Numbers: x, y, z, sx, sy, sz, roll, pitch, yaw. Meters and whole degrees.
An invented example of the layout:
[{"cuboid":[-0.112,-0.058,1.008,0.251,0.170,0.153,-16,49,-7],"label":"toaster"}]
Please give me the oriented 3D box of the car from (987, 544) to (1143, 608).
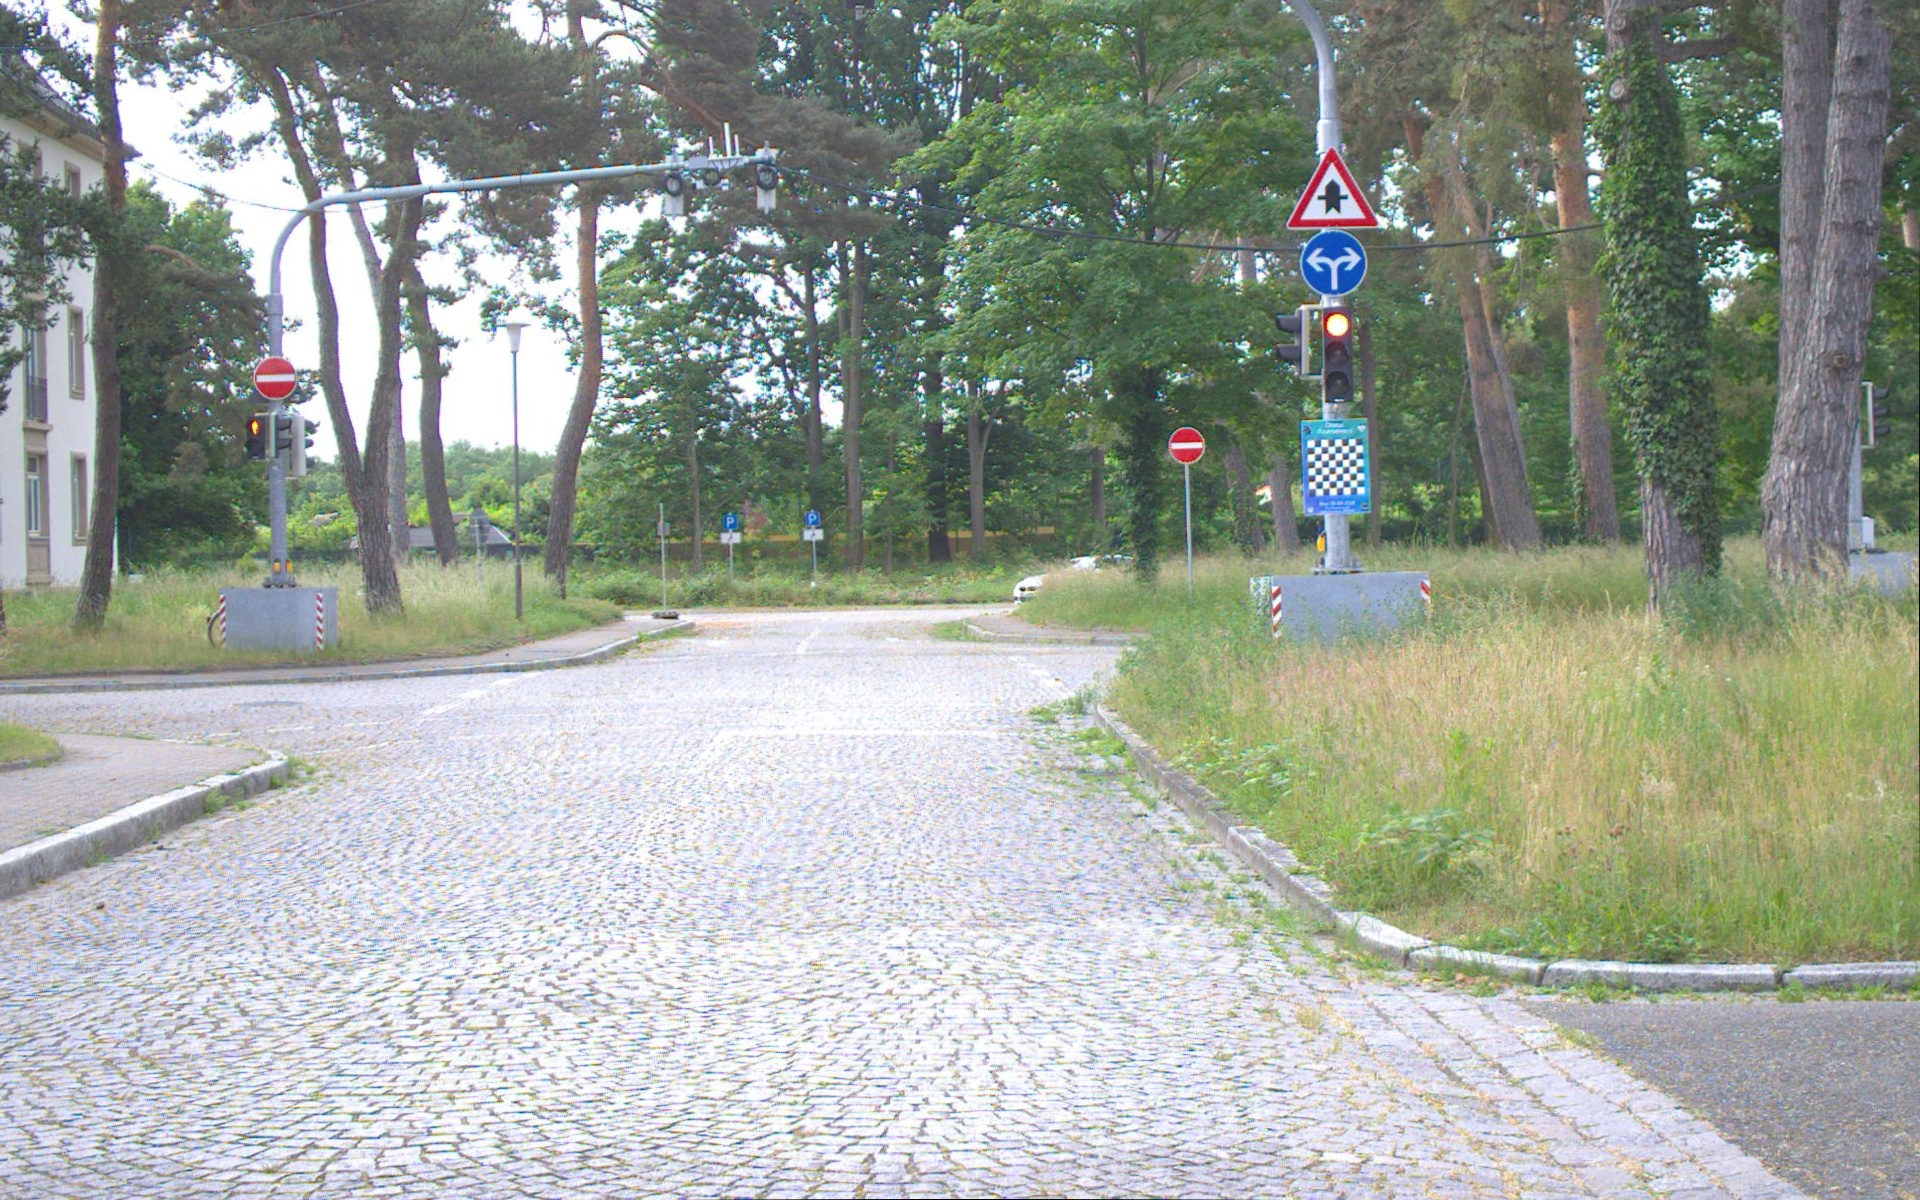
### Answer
[{"cuboid":[2.854,-0.648,92.837,1.778,1.433,4.208,-3,2,44],"label":"car"}]
